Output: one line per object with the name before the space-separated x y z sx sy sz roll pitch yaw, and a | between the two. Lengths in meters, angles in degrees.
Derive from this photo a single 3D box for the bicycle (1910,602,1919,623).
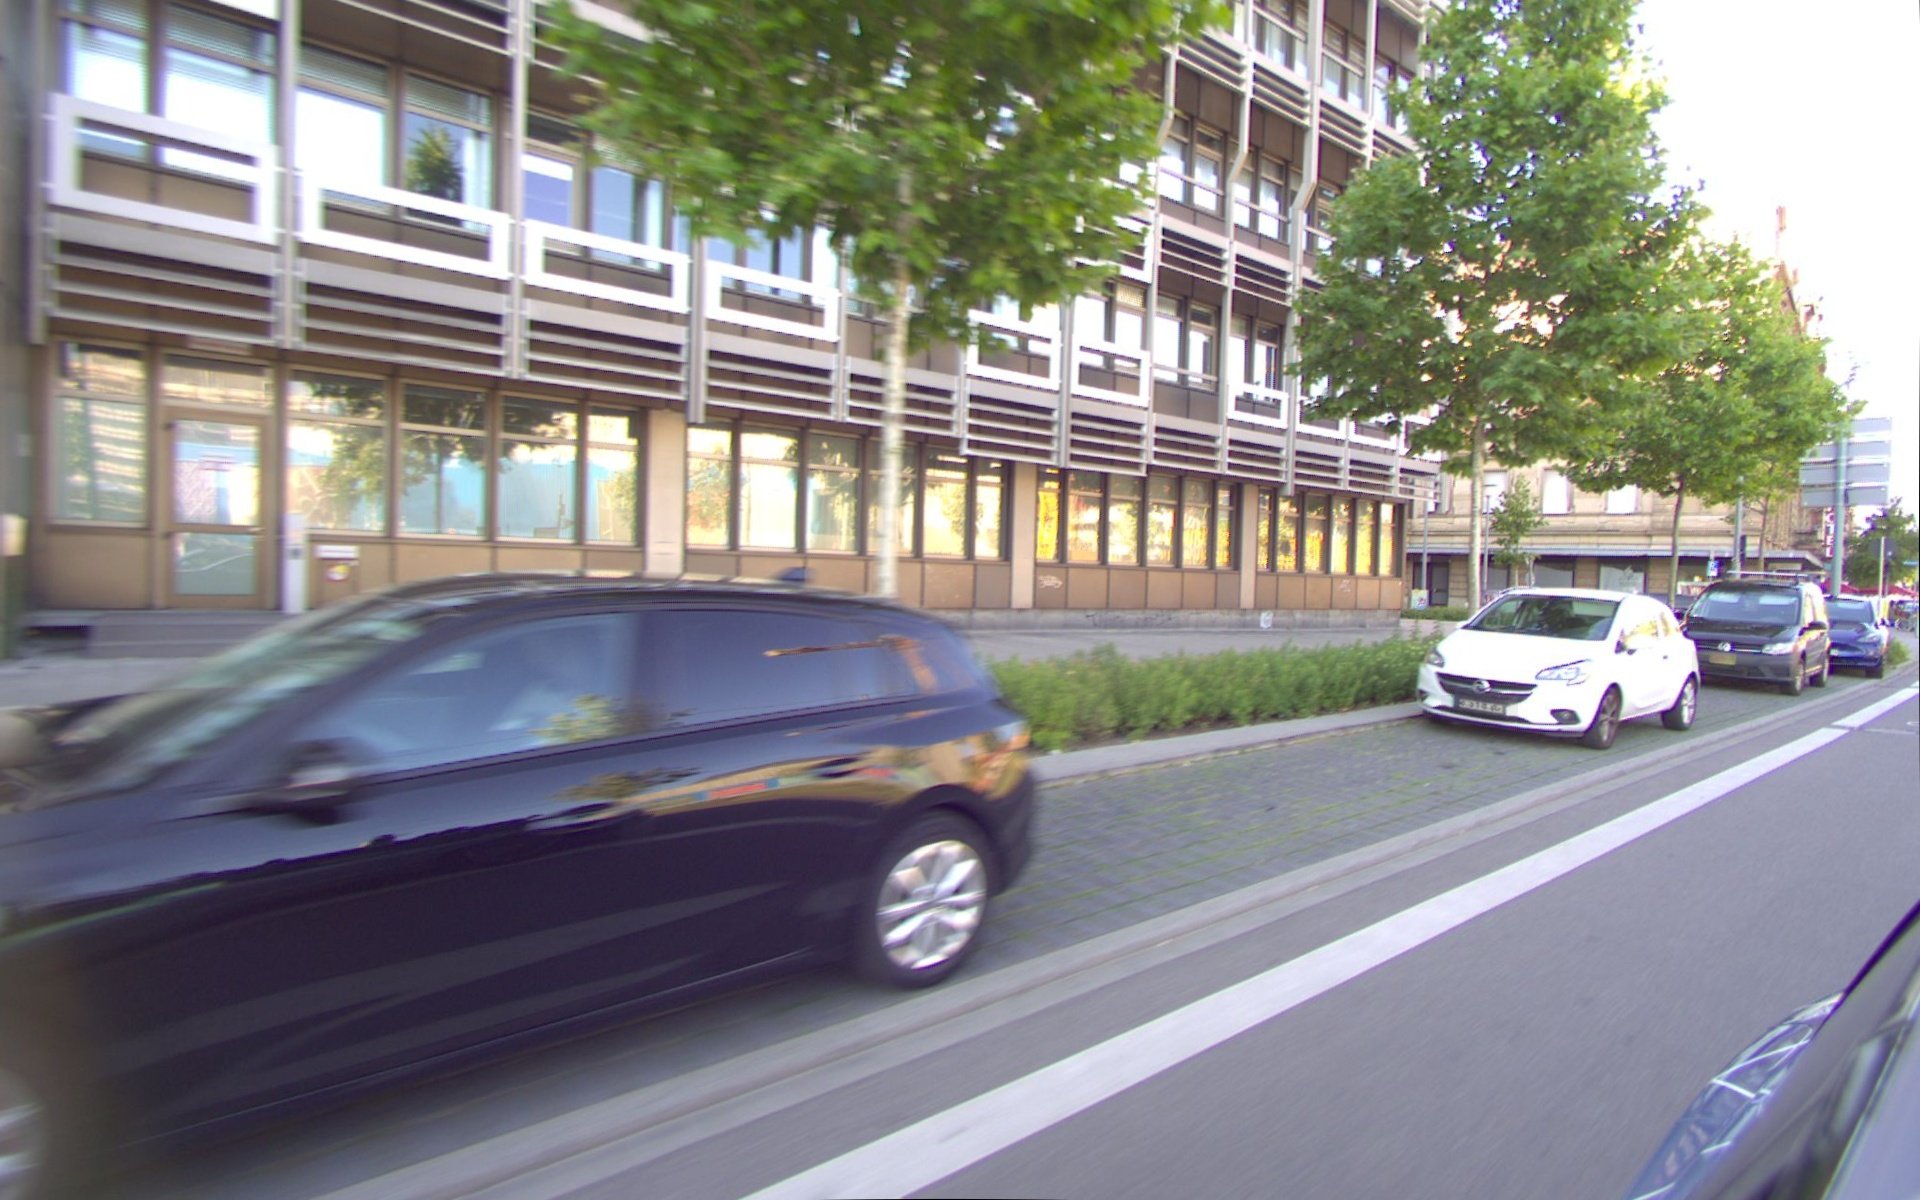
bicycle | 51.787 0.739 53.719 0.556 1.117 1.849 1 4 -40

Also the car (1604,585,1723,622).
car | 31.347 0.126 45.155 4.255 1.467 1.837 2 2 39

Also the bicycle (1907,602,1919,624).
bicycle | 49.580 0.715 51.618 0.498 1.117 1.726 1 4 -40

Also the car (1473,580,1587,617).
car | 27.273 -0.116 48.497 4.533 1.615 1.837 2 2 39

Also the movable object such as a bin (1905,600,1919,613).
movable object such as a bin | 73.195 0.515 77.716 0.549 0.935 0.679 1 4 -26

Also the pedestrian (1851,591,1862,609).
pedestrian | 90.651 -0.031 102.349 0.747 1.776 1.055 4 3 43

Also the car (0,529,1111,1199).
car | -1.662 0.580 3.260 4.298 1.466 1.799 1 4 -40

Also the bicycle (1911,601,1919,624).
bicycle | 48.417 0.703 50.175 0.498 1.117 1.758 1 4 -40

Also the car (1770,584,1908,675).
car | 18.912 0.546 21.698 1.932 1.618 4.625 5 4 44

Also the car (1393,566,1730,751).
car | 6.411 0.494 10.611 4.128 1.508 1.668 1 4 -39

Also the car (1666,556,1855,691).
car | 13.612 0.330 17.109 4.318 1.942 1.738 0 4 -43

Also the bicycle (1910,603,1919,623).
bicycle | 52.780 0.753 54.829 0.556 1.060 1.809 1 4 -40
